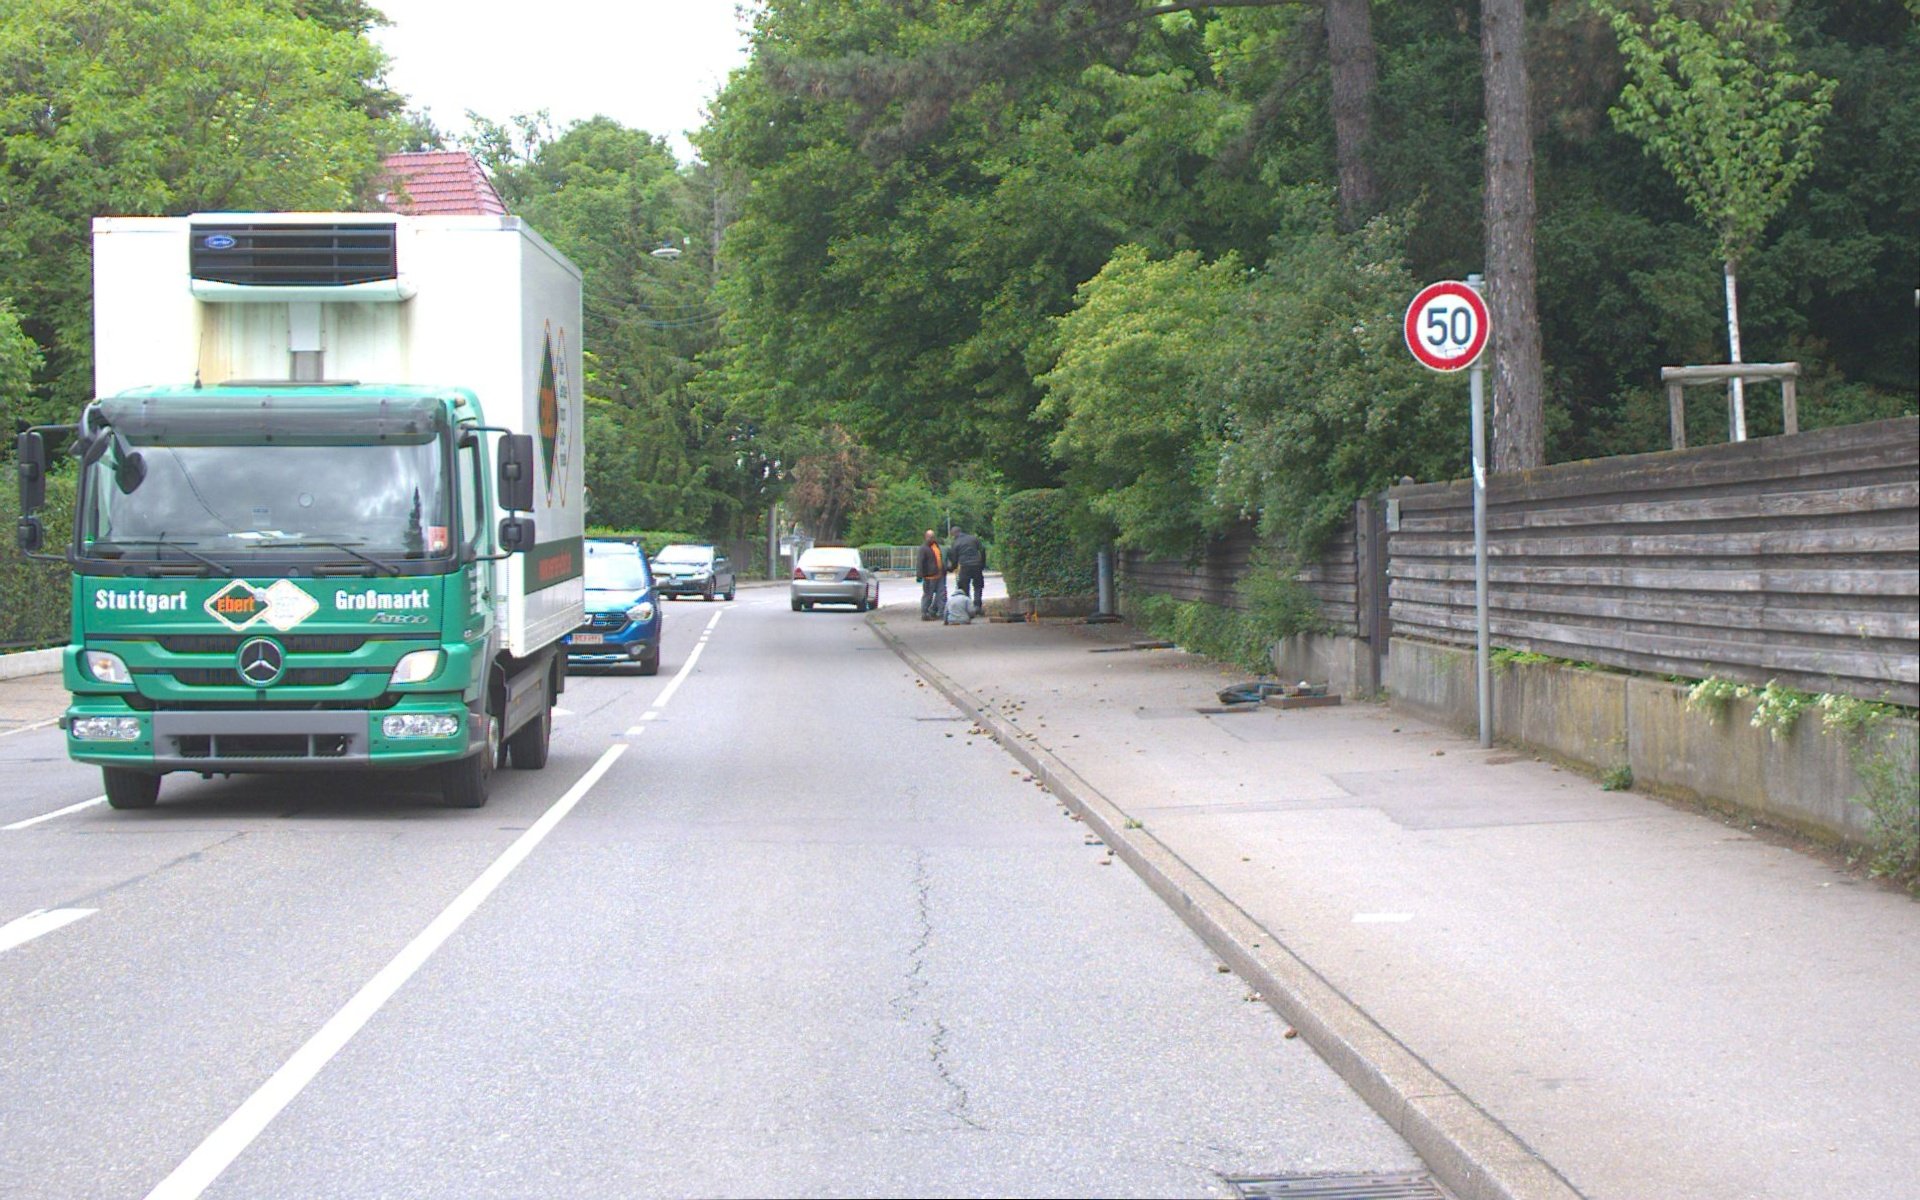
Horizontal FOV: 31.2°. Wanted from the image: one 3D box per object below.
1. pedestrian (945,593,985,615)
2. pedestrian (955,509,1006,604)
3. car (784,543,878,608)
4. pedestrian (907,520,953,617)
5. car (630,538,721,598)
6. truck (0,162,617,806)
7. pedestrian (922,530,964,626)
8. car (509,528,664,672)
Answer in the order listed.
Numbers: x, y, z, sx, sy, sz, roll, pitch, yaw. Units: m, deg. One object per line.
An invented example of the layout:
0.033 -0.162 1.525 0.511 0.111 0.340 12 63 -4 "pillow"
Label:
0.084 0.069 62.190 0.672 0.392 0.741 0 1 -3 "pedestrian"
0.386 -0.827 65.512 0.689 1.801 0.673 -1 1 -43 "pedestrian"
-2.903 -0.546 78.041 1.797 1.410 4.335 0 0 2 "car"
-0.562 -0.587 64.280 0.807 1.801 0.741 0 1 -3 "pedestrian"
-7.075 -0.811 85.857 1.681 1.466 4.017 0 1 4 "car"
-3.973 -0.612 22.325 2.777 3.449 7.494 -1 0 -1 "truck"
-0.319 -0.419 65.369 0.601 1.801 0.517 0 1 38 "pedestrian"
-4.818 -0.026 43.956 1.805 1.711 4.379 -1 1 -8 "car"
